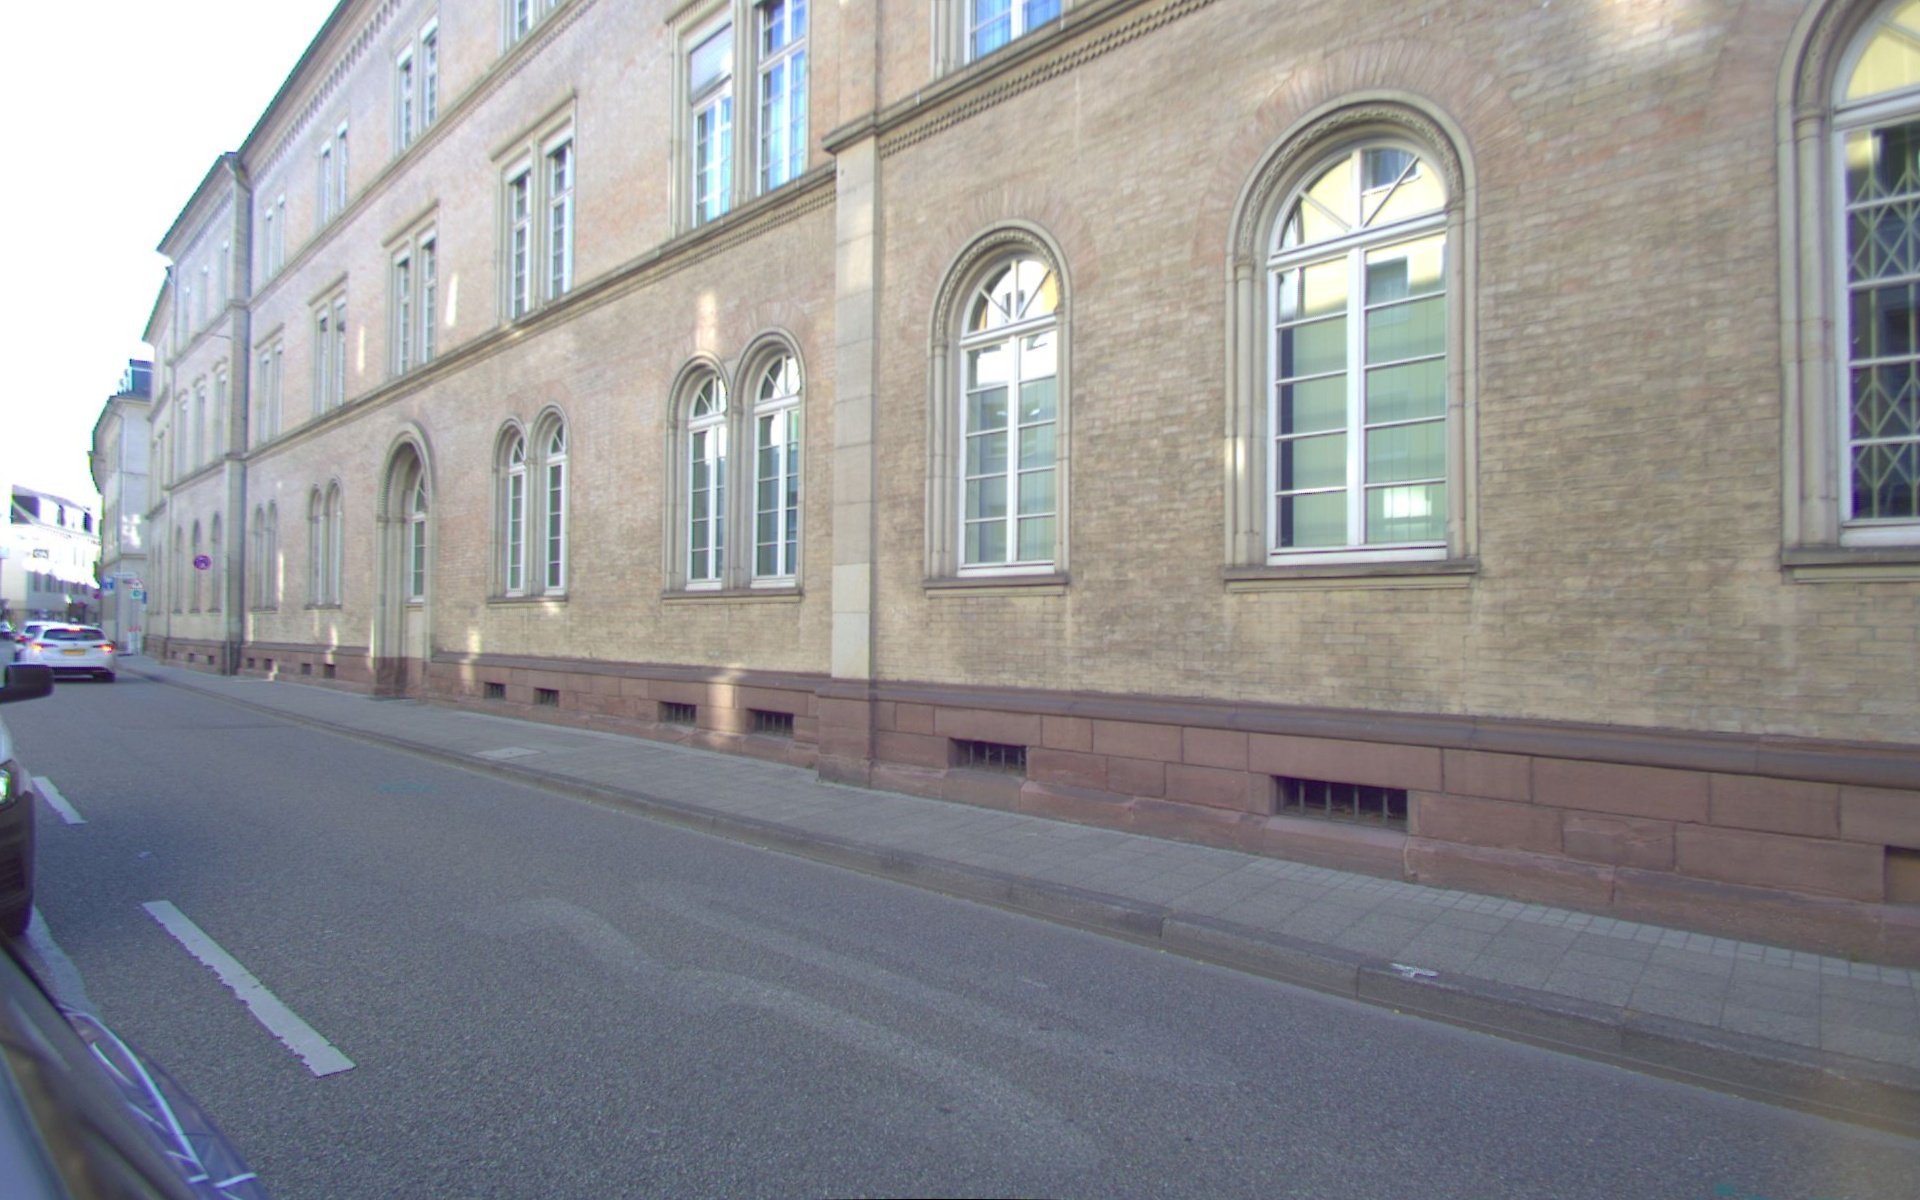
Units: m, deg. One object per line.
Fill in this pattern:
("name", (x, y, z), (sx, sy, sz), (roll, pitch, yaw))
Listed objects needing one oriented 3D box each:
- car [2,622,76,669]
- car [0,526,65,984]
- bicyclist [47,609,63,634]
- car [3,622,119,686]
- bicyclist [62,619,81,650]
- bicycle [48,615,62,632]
("car", (-33.439, 1.628, 36.699), (4.276, 1.595, 1.666), (-2, -5, 44))
("car", (-6.353, 0.654, 5.319), (5.339, 1.850, 1.795), (-1, -2, 41))
("bicyclist", (-59.501, 1.403, 66.543), (0.642, 1.579, 0.962), (5, -5, -41))
("car", (-23.392, 1.371, 26.267), (4.546, 1.487, 1.865), (-1, -4, 44))
("bicyclist", (-41.378, 1.601, 47.154), (0.579, 1.454, 0.596), (-2, -3, 45))
("bicycle", (-59.504, 1.555, 66.547), (0.642, 1.014, 1.809), (5, -5, -41))
